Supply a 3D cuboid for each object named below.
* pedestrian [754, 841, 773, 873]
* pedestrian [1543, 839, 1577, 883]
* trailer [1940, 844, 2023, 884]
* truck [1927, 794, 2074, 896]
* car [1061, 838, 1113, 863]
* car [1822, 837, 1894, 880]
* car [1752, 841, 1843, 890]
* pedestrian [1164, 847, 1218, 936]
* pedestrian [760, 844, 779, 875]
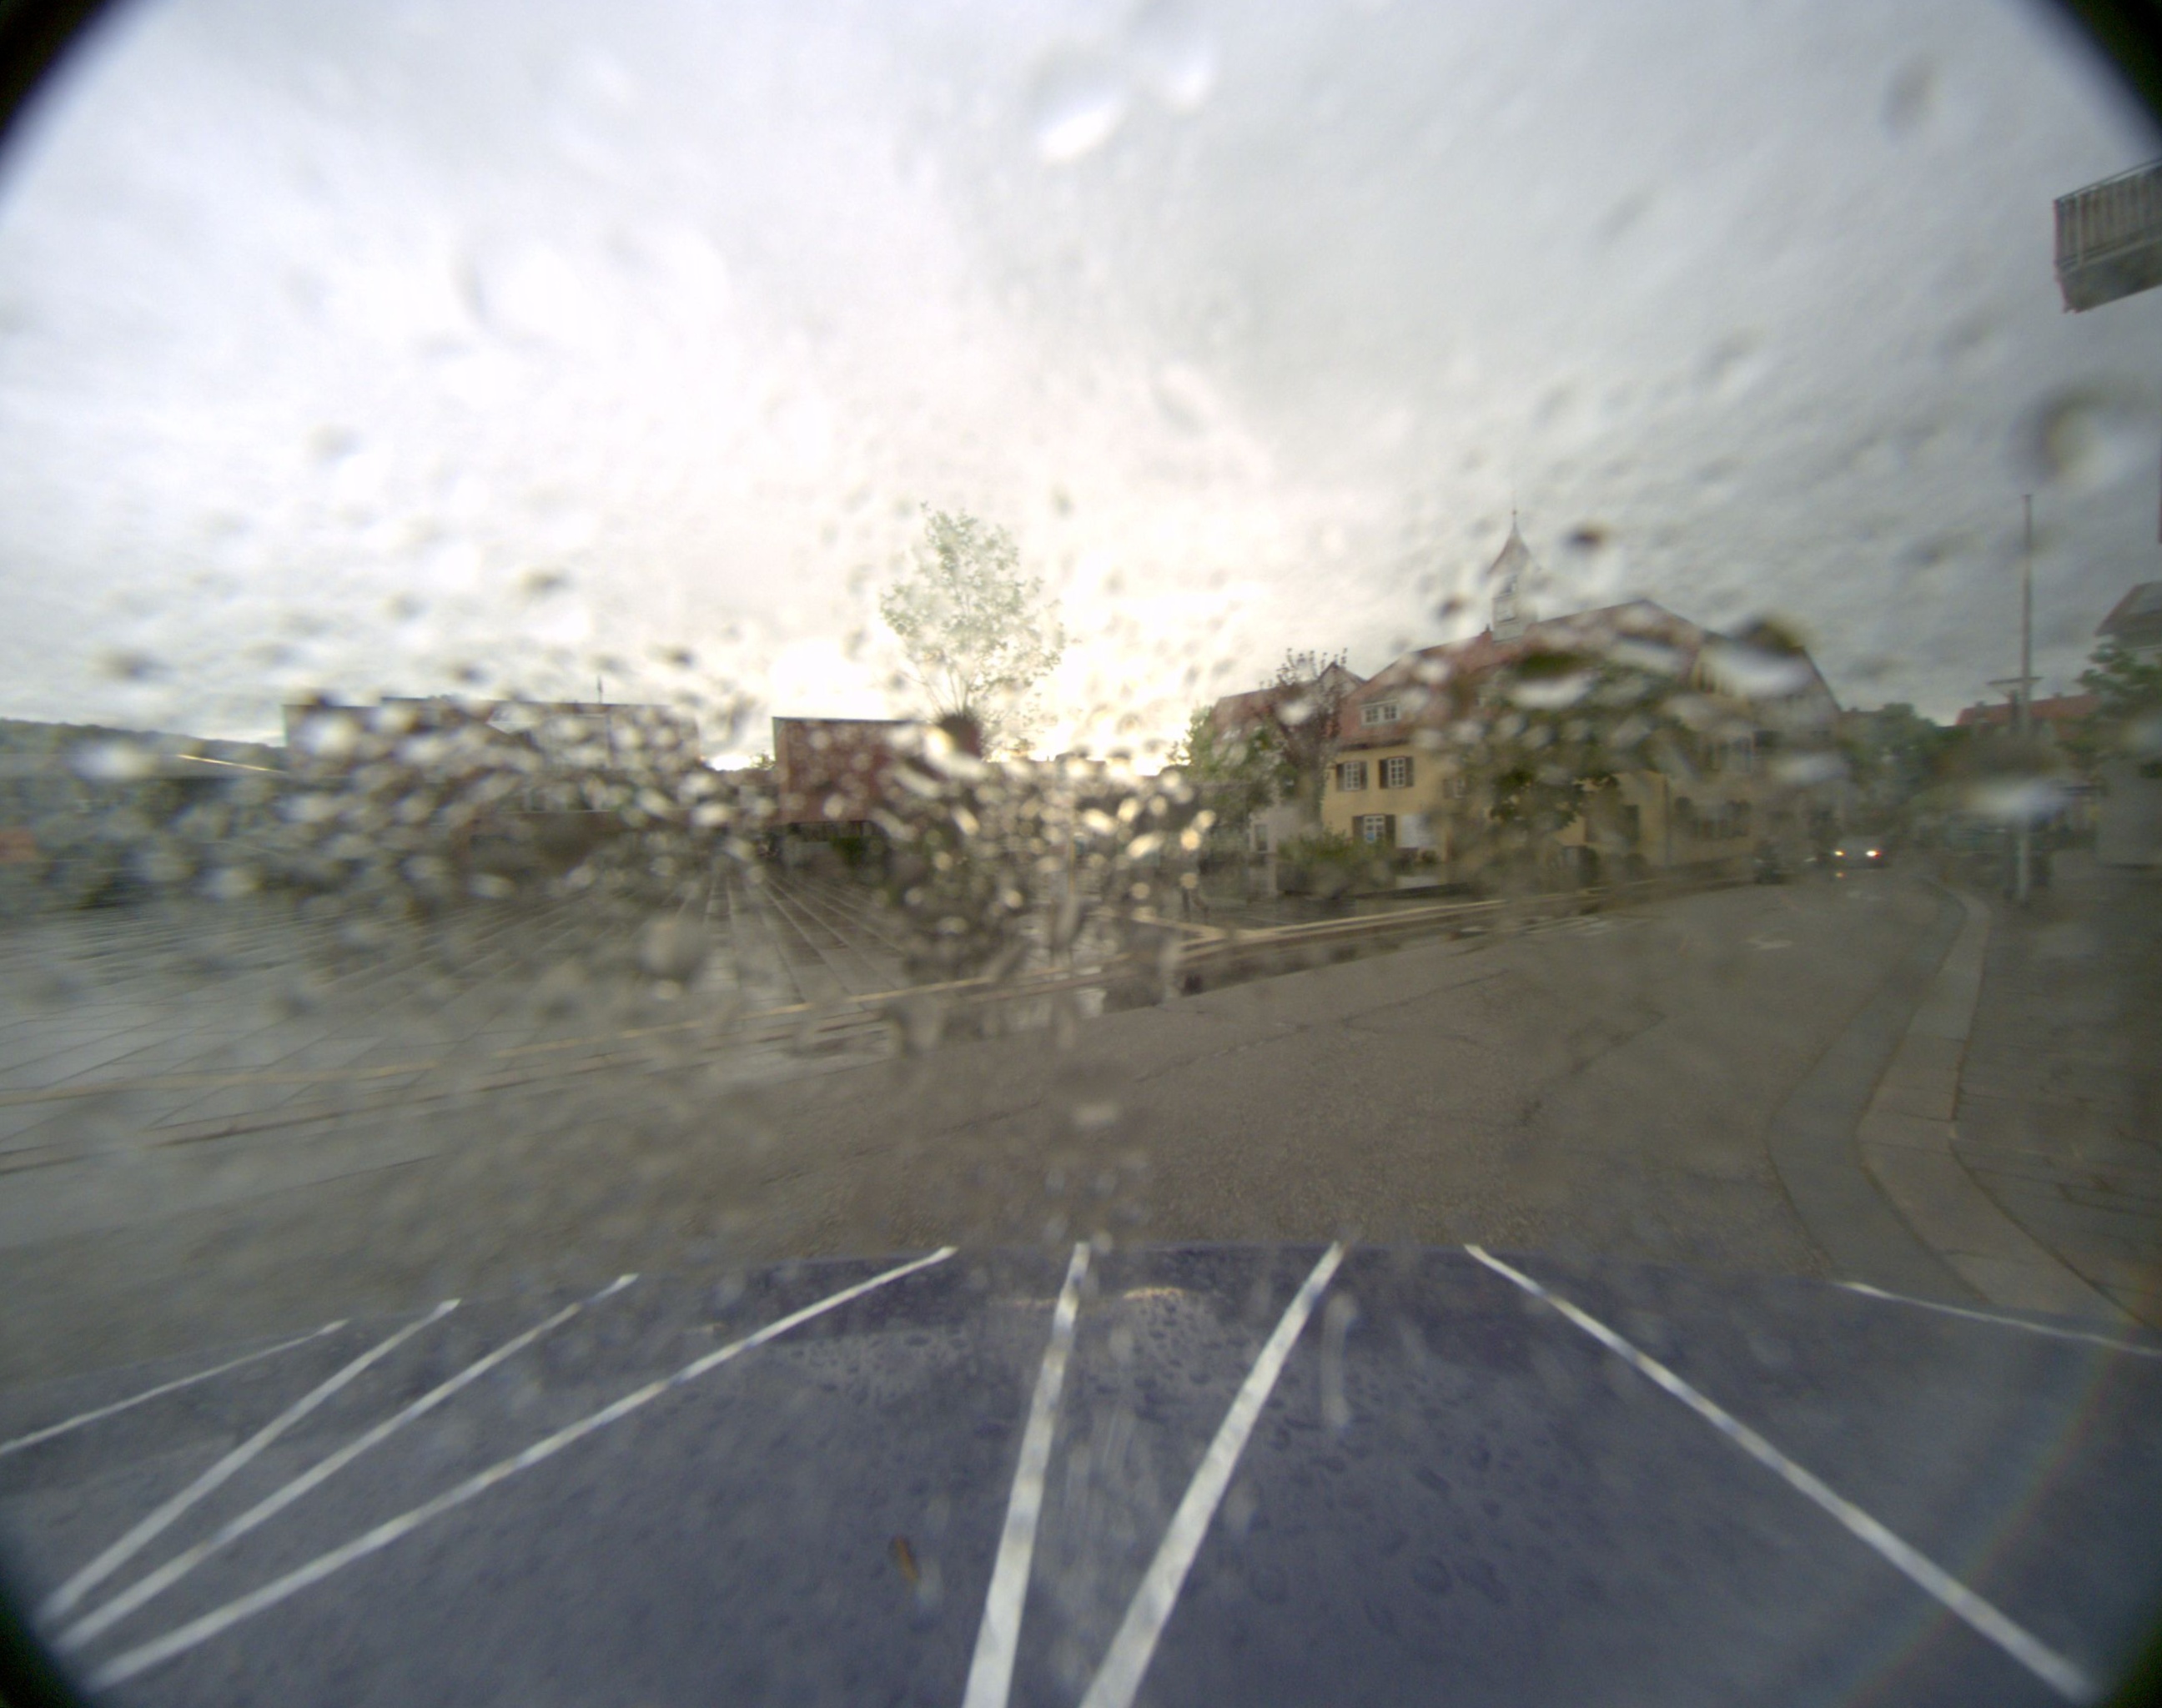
[{"bbox_3d":[-20.132,0.189,48.186,0.731,2.003,0.863,0,3,9],"label":"pedestrian"},{"bbox_3d":[18.879,0.270,29.965,0.867,1.683,0.716,0,1,2],"label":"pedestrian"},{"bbox_3d":[32.048,0.321,27.130,3.167,1.339,1.728,-1,2,-43],"label":"trailer"},{"bbox_3d":[28.468,-0.287,23.777,6.613,2.779,2.474,-1,2,-43],"label":"truck"},{"bbox_3d":[0.560,-0.386,71.406,4.382,2.205,1.995,-2,3,-27],"label":"car"},{"bbox_3d":[36.453,0.160,35.624,4.008,1.892,1.994,-1,0,-39],"label":"car"},{"bbox_3d":[24.922,0.359,26.409,3.852,1.547,1.733,-1,1,-38],"label":"car"},{"bbox_3d":[2.087,0.681,14.443,0.695,1.608,0.728,-3,3,-35],"label":"pedestrian"},{"bbox_3d":[-20.139,0.347,49.116,0.731,2.003,0.863,0,3,9],"label":"pedestrian"}]
